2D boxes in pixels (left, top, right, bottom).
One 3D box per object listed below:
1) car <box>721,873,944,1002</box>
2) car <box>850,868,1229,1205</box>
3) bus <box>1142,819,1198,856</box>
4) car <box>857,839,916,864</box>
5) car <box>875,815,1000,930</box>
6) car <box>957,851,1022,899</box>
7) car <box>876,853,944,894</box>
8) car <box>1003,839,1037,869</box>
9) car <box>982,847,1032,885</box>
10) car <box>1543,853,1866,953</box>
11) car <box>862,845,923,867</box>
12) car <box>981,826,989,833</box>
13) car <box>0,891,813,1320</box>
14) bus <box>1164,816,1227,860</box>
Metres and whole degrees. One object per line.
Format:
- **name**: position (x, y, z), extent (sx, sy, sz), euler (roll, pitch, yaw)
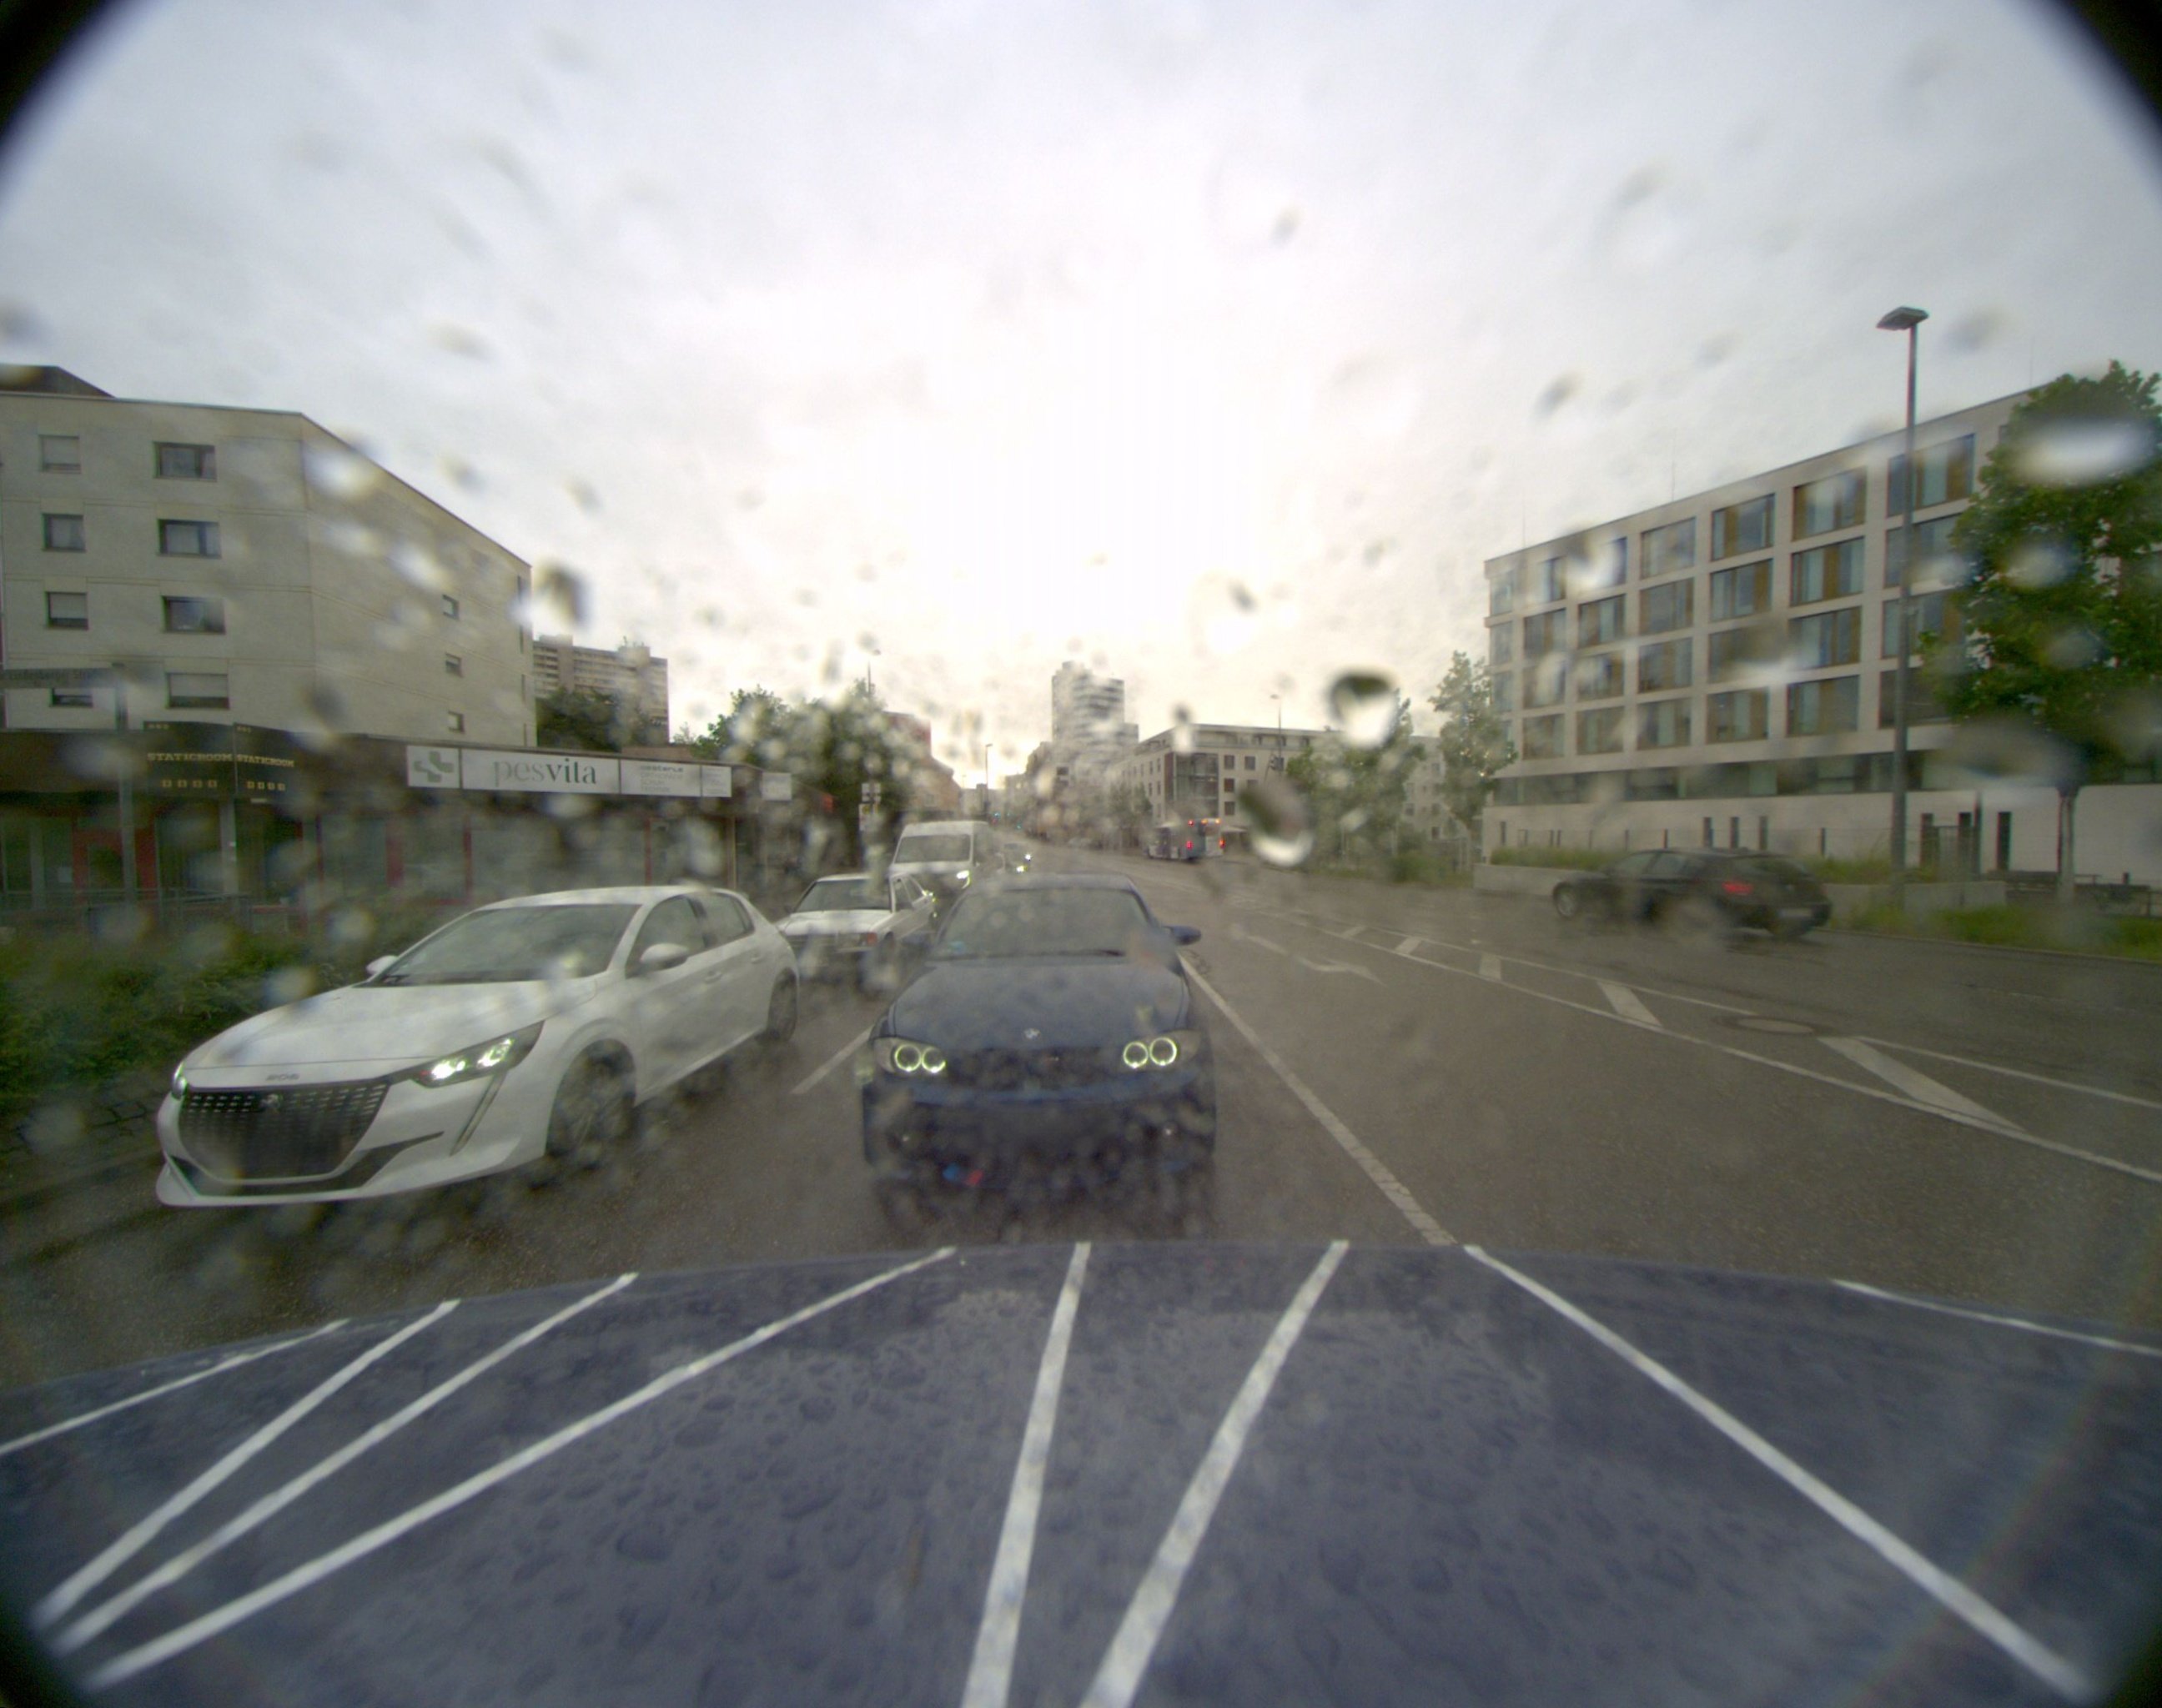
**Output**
- **car**: position (-3.355, 1.054, 11.186), extent (1.788, 1.338, 4.162), euler (-2, 1, 1)
- **car**: position (-0.231, 0.868, 5.483), extent (1.693, 1.380, 3.999), euler (-2, 1, -1)
- **bus**: position (7.832, -1.417, 68.030), extent (2.800, 3.096, 8.876), euler (-1, 1, -8)
- **car**: position (-14.023, -0.195, 54.996), extent (4.000, 1.769, 1.882), euler (-1, 1, -10)
- **car**: position (-3.497, 0.346, 19.878), extent (2.197, 2.503, 6.120), euler (-1, 1, -2)
- **car**: position (-3.292, 0.715, 28.083), extent (1.803, 1.530, 3.999), euler (-2, 1, 1)
- **car**: position (-7.020, 0.765, 31.591), extent (1.788, 1.481, 4.000), euler (-2, 1, 1)
- **car**: position (-4.152, -0.057, 52.579), extent (1.998, 2.002, 3.999), euler (0, 1, 0)
- **car**: position (-3.438, 0.533, 35.852), extent (1.999, 1.559, 3.998), euler (-2, 1, -1)
- **car**: position (10.204, 0.694, 12.965), extent (1.790, 1.382, 4.279), euler (0, 0, -5)
- **car**: position (-13.082, 0.109, 52.977), extent (4.000, 1.419, 1.882), euler (-1, 1, -10)
- **car**: position (-26.734, -6.779, 211.510), extent (1.666, 1.625, 3.801), euler (-2, 1, -11)
- **car**: position (-3.376, 1.089, 5.035), extent (1.666, 1.407, 4.114), euler (-2, 1, 1)
- **bus**: position (8.717, -1.208, 58.869), extent (2.785, 3.096, 9.363), euler (-1, 1, -4)
